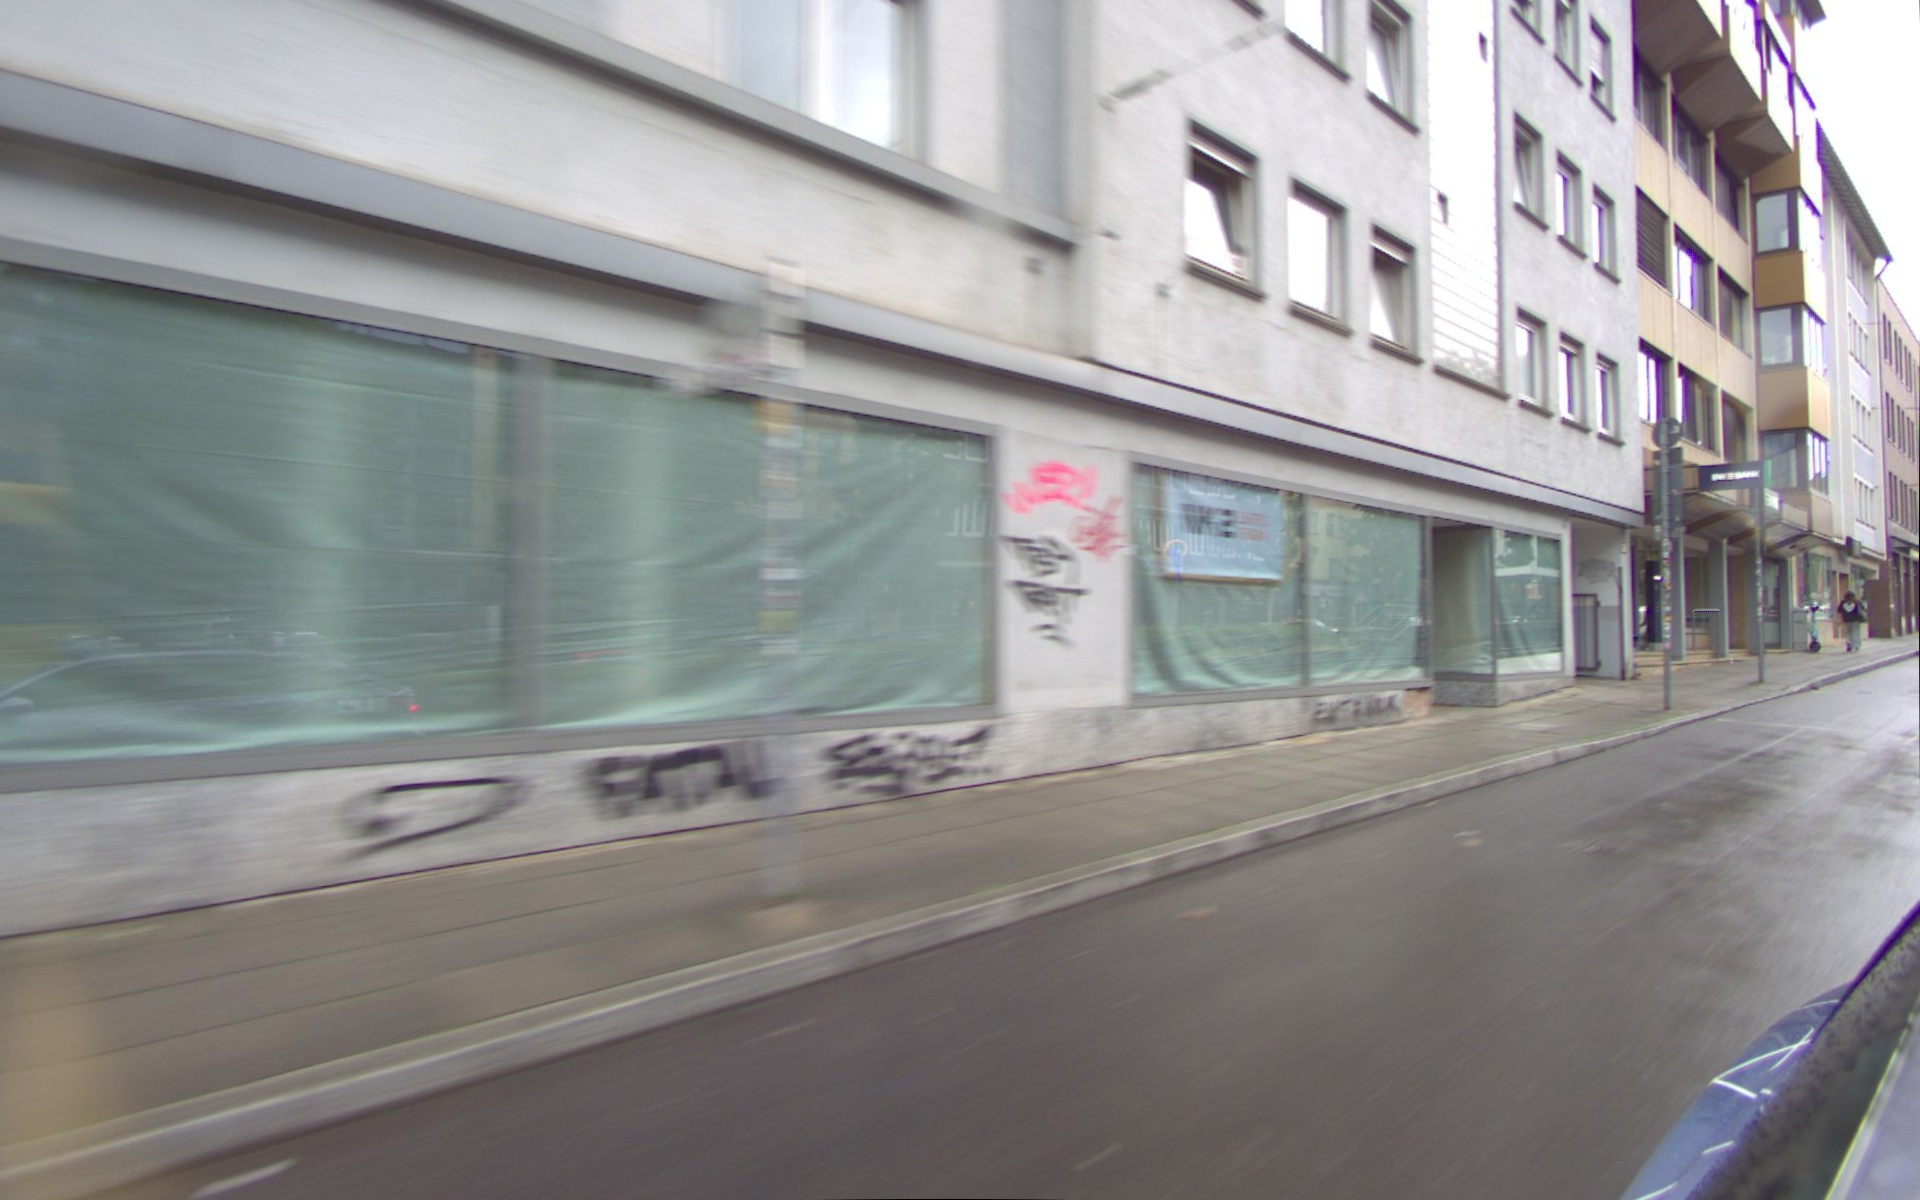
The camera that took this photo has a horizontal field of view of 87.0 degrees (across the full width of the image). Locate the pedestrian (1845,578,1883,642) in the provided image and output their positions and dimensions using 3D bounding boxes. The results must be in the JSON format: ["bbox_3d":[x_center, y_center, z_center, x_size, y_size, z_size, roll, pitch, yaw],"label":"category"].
[{"bbox_3d":[24.660,0.276,27.602,0.867,1.722,0.639,0,-1,-40],"label":"pedestrian"}]
